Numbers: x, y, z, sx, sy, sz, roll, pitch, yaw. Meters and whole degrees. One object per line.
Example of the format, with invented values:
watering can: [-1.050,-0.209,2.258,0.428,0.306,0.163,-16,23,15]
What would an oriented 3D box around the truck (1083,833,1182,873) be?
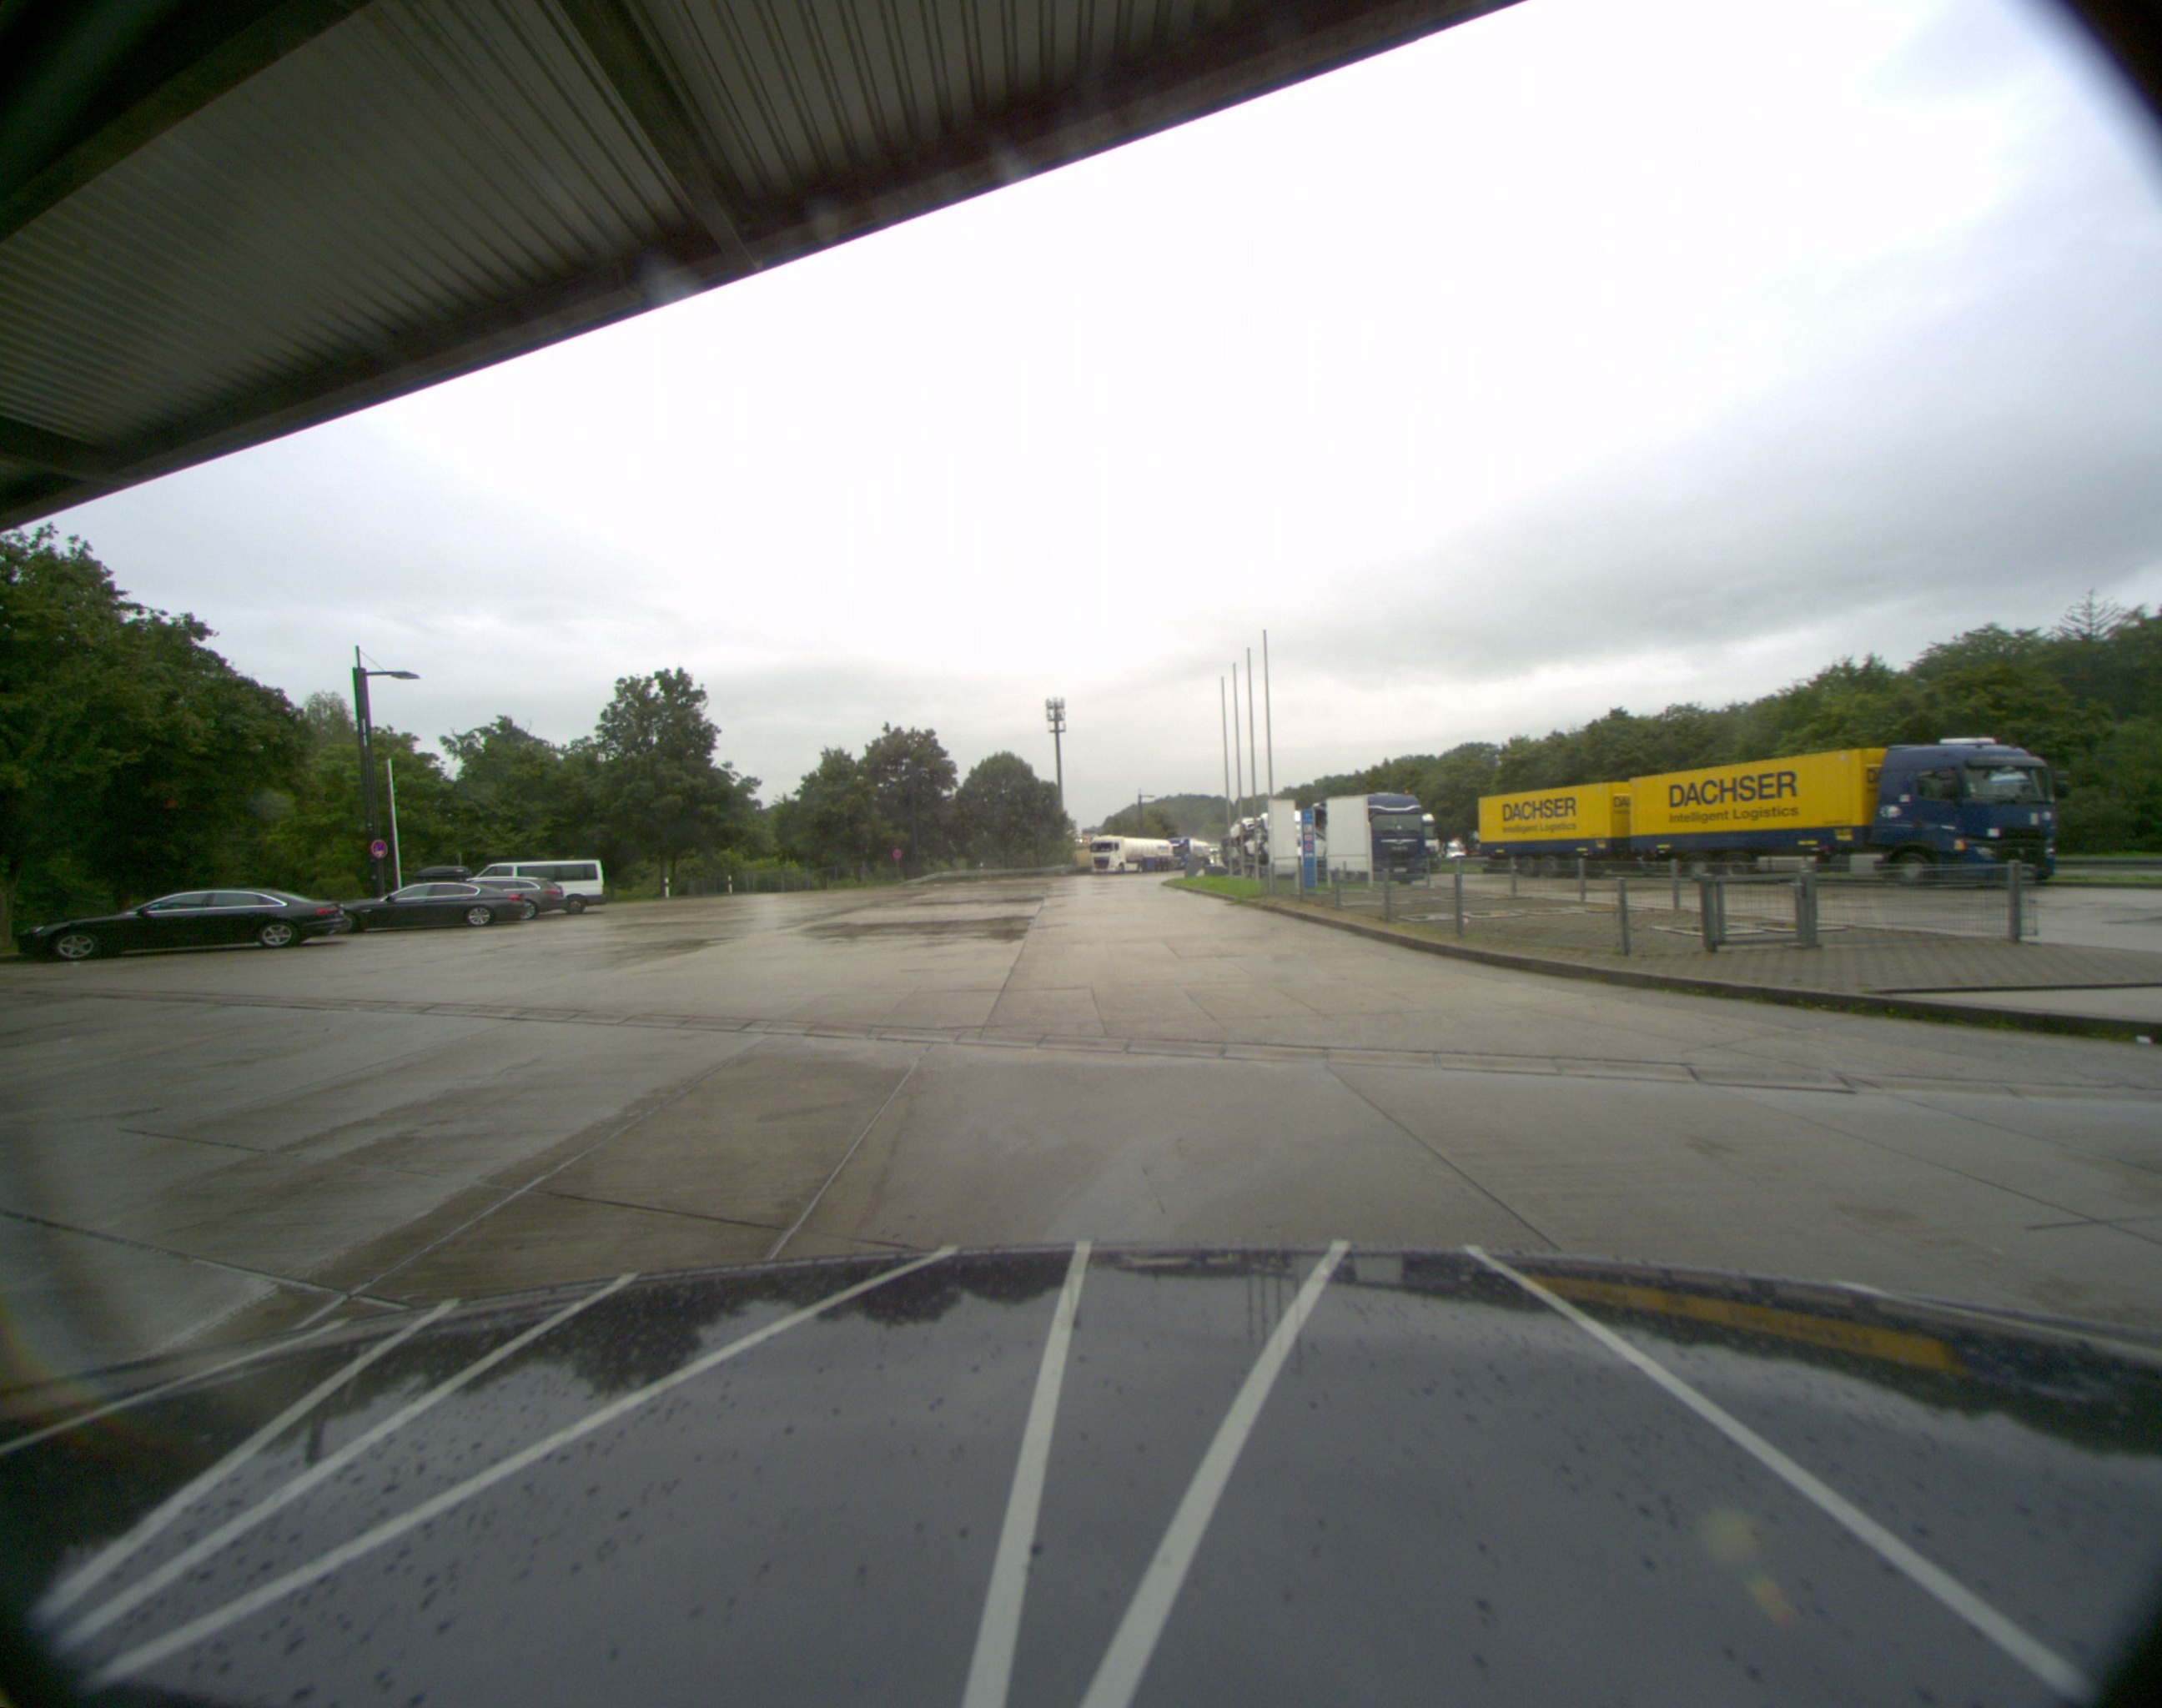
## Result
truck: [5.466,-0.157,75.221,3.505,3.584,14.426,-2,0,31]

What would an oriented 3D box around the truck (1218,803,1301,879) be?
truck: [10.582,-0.723,45.791,2.665,4.157,6.618,-2,1,-6]

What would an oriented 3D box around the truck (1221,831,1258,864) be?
truck: [21.307,-0.955,102.923,3.143,4.105,11.523,-2,1,3]

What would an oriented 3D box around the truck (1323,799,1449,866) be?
truck: [19.895,-1.294,50.581,2.757,3.894,10.678,-2,1,-8]

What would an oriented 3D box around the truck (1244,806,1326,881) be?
truck: [11.058,-0.554,41.601,2.665,3.750,4.747,-2,1,-6]

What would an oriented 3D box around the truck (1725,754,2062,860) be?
truck: [33.923,-1.755,32.726,2.421,3.785,10.223,-2,1,-10]

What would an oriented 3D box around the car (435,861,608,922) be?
car: [-20.415,1.290,28.008,4.898,1.938,2.310,-2,0,-35]

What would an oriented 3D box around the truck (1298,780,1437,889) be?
truck: [12.196,-0.792,33.193,2.665,4.157,7.103,-2,0,-6]

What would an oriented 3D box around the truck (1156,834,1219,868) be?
truck: [12.794,-0.398,89.702,3.506,3.584,14.686,-2,0,23]

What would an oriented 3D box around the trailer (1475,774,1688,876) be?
trailer: [21.804,-1.180,33.960,2.757,3.894,8.700,-2,1,-9]

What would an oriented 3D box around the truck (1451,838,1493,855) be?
truck: [49.023,-0.931,95.269,2.000,2.002,4.929,-2,1,-11]

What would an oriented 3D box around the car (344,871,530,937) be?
car: [-18.864,1.396,22.520,4.007,1.650,1.596,-2,0,-35]

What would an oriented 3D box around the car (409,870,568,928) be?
car: [-19.460,1.429,25.172,4.007,1.650,1.596,-2,0,-35]

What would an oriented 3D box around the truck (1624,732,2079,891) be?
truck: [23.165,-1.123,24.339,2.757,3.894,10.678,-2,1,-8]

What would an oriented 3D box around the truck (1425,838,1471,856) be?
truck: [45.501,-0.855,94.289,2.082,2.112,5.827,-2,1,-10]
